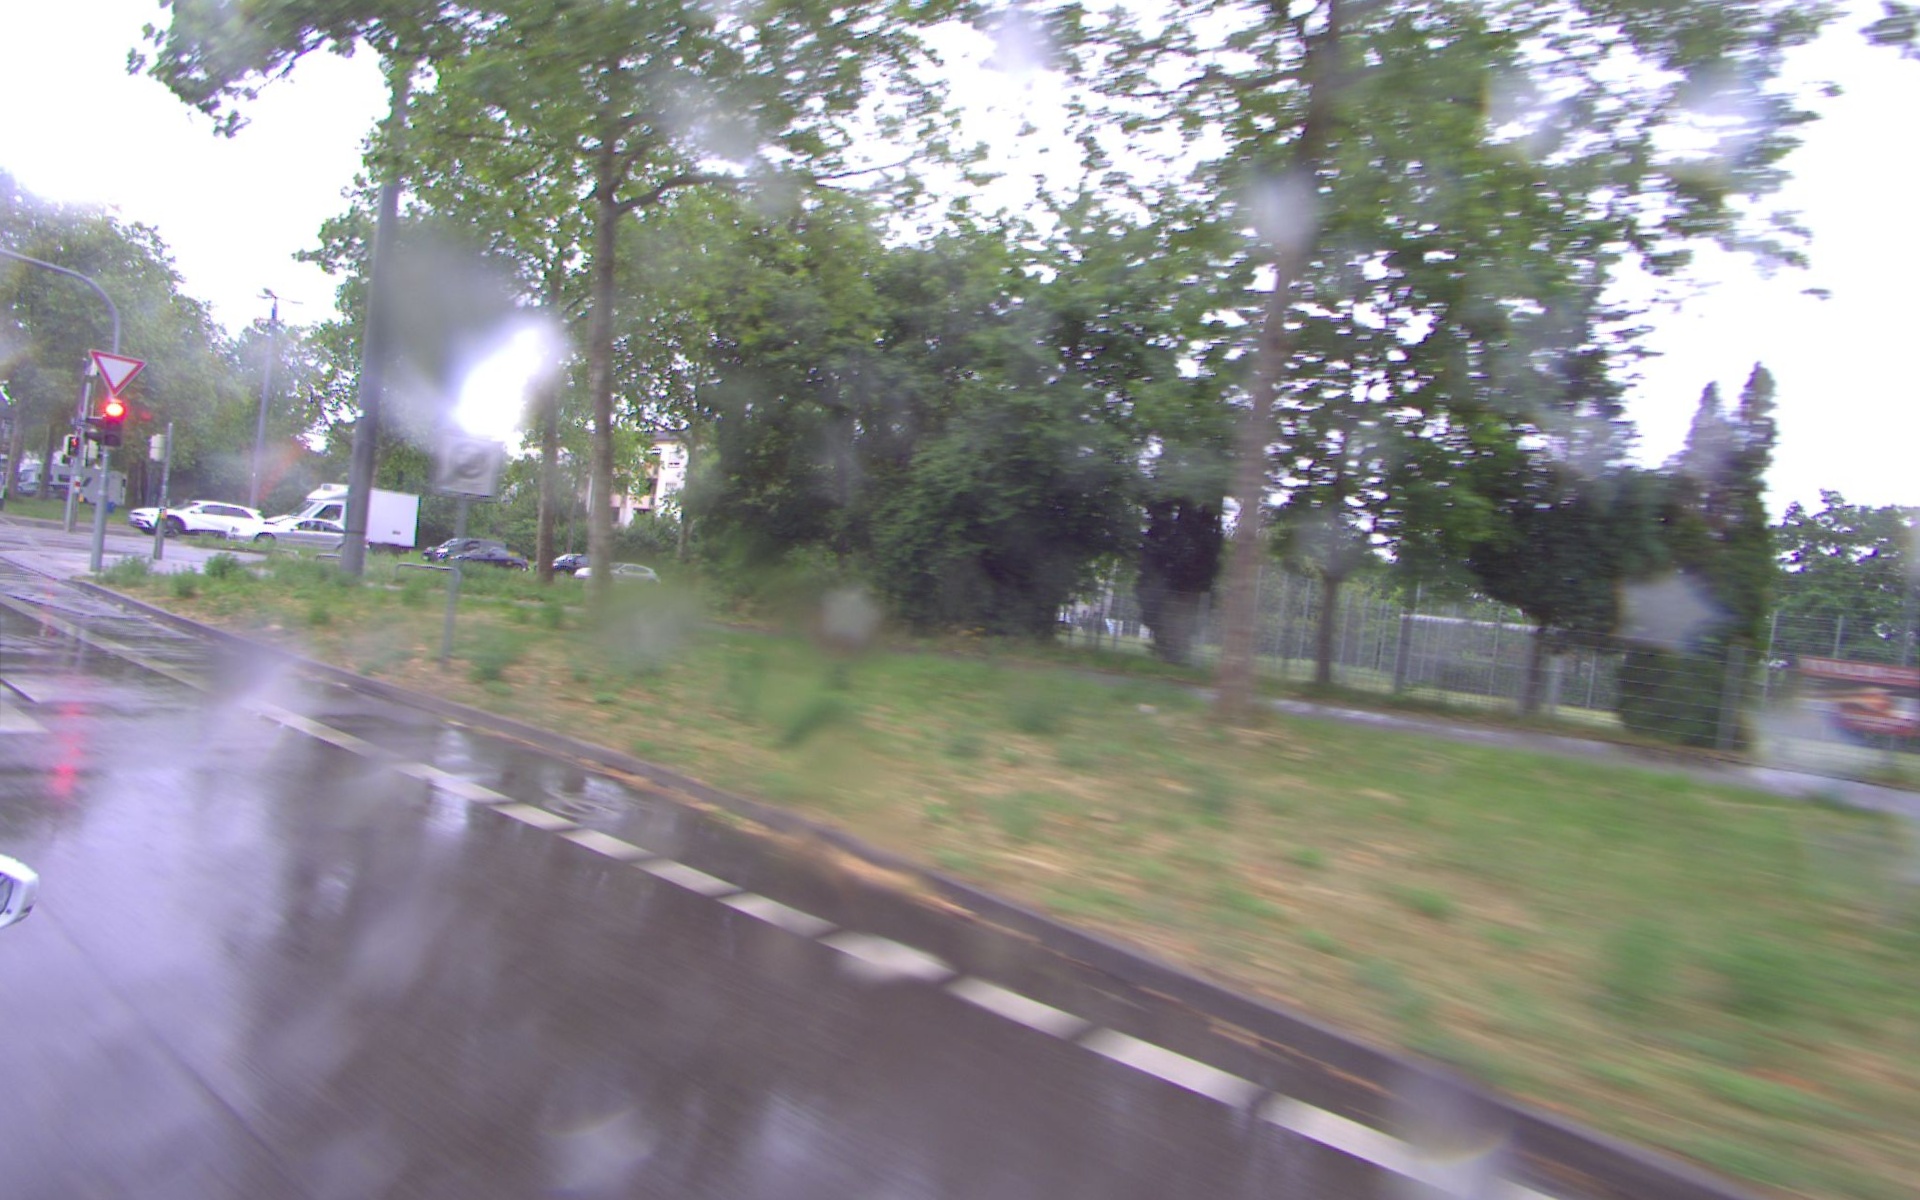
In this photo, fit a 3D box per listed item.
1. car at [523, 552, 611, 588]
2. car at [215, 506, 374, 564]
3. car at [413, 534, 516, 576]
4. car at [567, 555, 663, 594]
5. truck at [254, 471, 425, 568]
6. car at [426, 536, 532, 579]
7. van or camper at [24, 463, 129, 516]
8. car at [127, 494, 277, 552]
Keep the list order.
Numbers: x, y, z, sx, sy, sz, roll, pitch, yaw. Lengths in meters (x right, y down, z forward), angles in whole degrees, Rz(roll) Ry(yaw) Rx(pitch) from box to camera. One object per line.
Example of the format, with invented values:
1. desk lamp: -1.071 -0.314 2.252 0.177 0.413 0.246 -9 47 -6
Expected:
1. car: -21.496 -1.633 55.151 1.737 1.439 4.126 7 -1 33
2. car: -24.319 -2.344 36.946 1.617 1.407 4.519 7 -1 31
3. car: -24.544 -2.204 49.941 1.737 1.439 4.205 7 -1 33
4. car: -18.071 -1.303 52.862 1.736 1.439 4.669 7 -1 31
5. truck: -25.296 -3.208 41.259 1.948 3.096 5.477 7 0 31
6. car: -22.114 -1.927 46.384 1.617 1.407 4.116 7 -1 31
7. van or camper: -62.852 -7.823 71.700 5.198 2.729 2.220 10 -1 -38
8. car: -30.281 -3.033 40.335 1.623 1.676 4.468 7 0 28
